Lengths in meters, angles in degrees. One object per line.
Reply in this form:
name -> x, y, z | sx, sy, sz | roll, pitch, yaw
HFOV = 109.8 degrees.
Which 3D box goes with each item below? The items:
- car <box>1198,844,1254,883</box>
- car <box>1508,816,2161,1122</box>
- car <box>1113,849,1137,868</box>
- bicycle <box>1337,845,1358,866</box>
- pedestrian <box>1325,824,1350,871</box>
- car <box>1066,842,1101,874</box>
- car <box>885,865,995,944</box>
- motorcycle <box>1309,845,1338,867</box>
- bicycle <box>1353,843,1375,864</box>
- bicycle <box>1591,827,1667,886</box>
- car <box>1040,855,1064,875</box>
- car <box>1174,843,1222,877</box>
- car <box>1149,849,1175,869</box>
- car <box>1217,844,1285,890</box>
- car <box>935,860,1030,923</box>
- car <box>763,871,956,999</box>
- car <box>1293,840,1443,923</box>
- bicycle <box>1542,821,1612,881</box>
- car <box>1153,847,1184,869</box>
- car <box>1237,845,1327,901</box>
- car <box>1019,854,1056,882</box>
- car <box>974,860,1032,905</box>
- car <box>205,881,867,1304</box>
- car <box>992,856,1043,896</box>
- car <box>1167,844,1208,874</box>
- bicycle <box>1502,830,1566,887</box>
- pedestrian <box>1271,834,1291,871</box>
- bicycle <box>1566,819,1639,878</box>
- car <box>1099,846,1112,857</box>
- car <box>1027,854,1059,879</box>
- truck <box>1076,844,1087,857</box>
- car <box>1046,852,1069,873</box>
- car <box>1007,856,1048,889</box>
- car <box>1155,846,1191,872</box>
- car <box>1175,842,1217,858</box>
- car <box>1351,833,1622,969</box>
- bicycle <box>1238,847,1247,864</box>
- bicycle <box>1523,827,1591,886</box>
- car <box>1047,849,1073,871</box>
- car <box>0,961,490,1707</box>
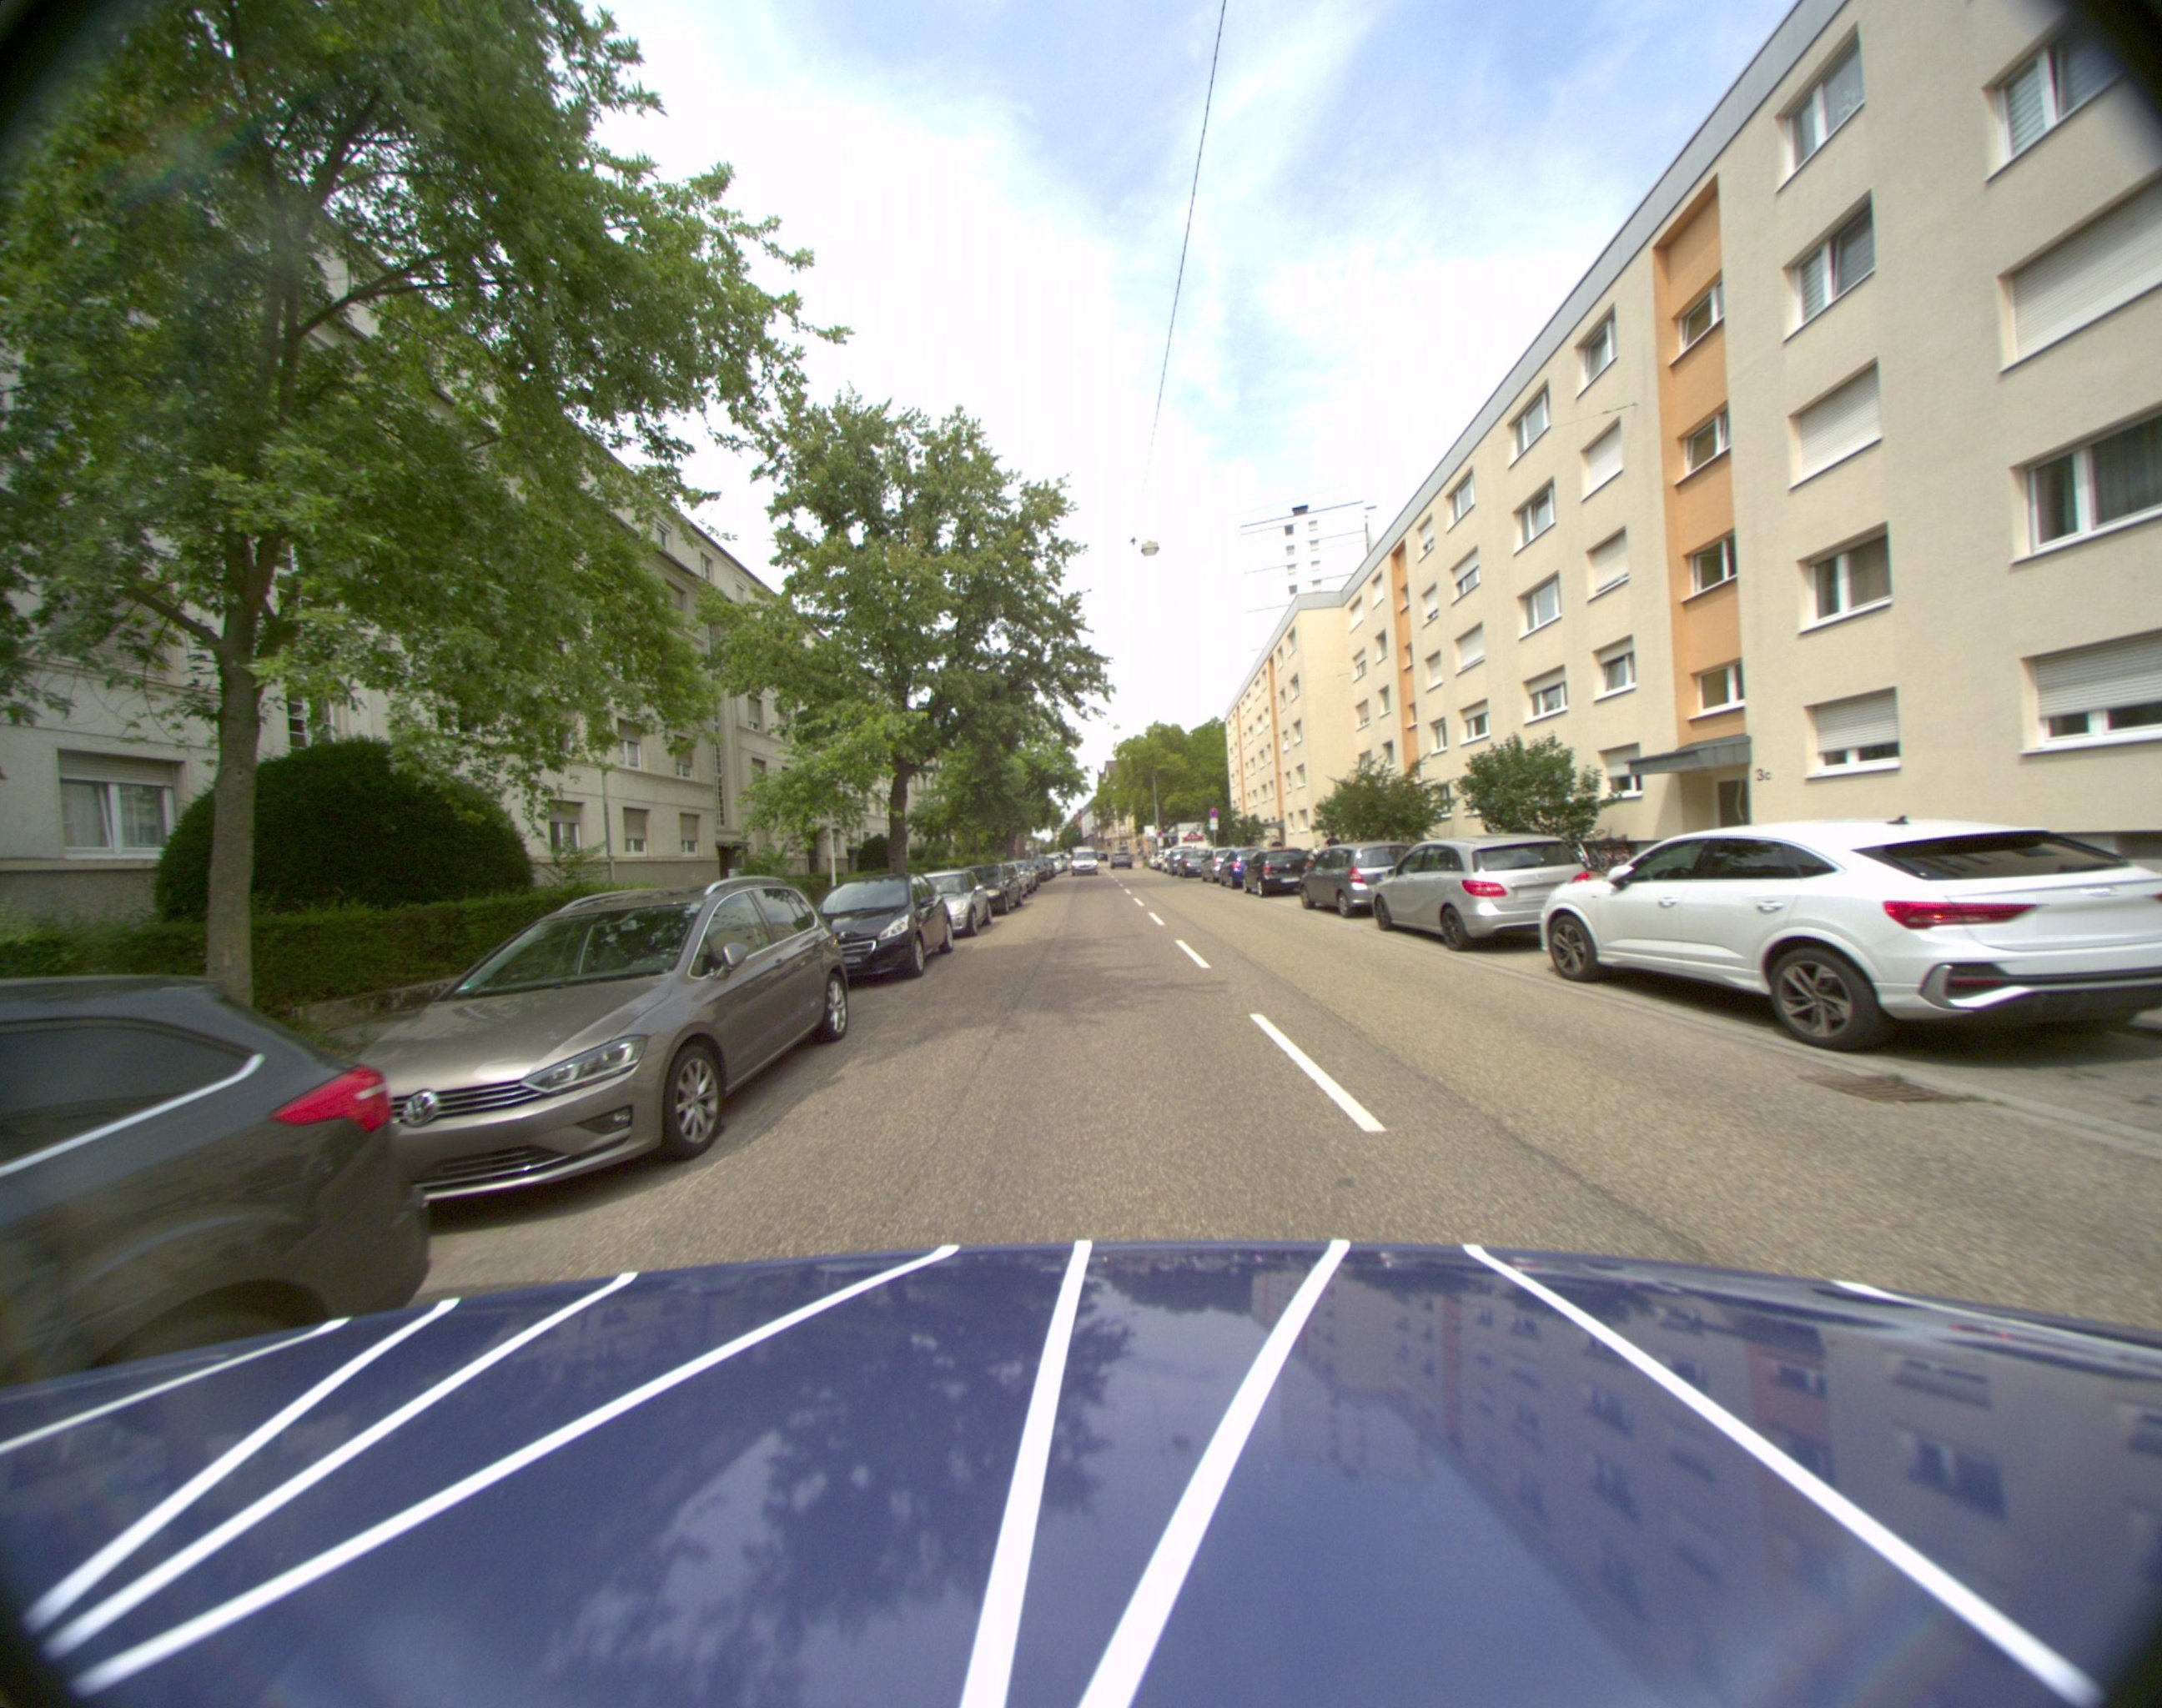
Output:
car -> 6.466, 0.401, 34.200 | 1.674, 1.552, 3.851 | -5, 0, 0
car -> 5.815, 0.616, 6.464 | 1.693, 1.570, 4.593 | -5, 0, 0
car -> 3.893, 0.417, 67.601 | 1.822, 1.576, 4.436 | -2, 0, 0
bicycle -> 13.160, 0.056, 37.595 | 0.441, 0.980, 1.616 | -4, 0, 1
pedestrian -> 10.201, -0.254, 30.261 | 0.621, 1.802, 0.803 | -3, 1, -1
car -> 0.107, 0.277, 52.126 | 2.082, 2.039, 4.679 | -3, 0, -2
car -> -2.987, 1.029, 16.844 | 1.663, 1.460, 3.726 | -3, -1, 0
motorcycle -> 11.966, 0.101, 37.563 | 0.663, 0.980, 2.317 | -4, 0, 1
bicycle -> 13.975, -0.010, 37.532 | 0.441, 0.980, 1.673 | -4, 0, 1
bicycle -> 13.952, 0.070, 19.421 | 0.463, 1.416, 2.130 | -3, -1, 4
car -> -2.298, 0.856, 61.573 | 1.701, 1.441, 4.100 | -4, 0, -1
car -> 6.359, 0.300, 41.651 | 1.947, 1.603, 4.302 | -5, 0, 1
car -> 6.609, 0.372, 62.304 | 1.712, 1.464, 3.989 | -5, 0, 3
car -> 6.402, 0.455, 29.033 | 1.822, 1.474, 3.885 | -5, 0, 3
car -> -2.765, 1.022, 22.393 | 1.784, 1.461, 4.615 | -5, 0, 4
car -> -3.080, 1.052, 11.408 | 1.663, 1.460, 3.890 | -3, -1, 0
car -> 6.183, 0.565, 16.900 | 1.727, 1.530, 4.005 | -3, -1, 0
bicycle -> 12.768, -0.063, 19.618 | 0.463, 1.416, 2.130 | -3, -1, 4
car -> 6.598, 0.293, 57.598 | 1.713, 1.464, 3.988 | -5, 0, -1
car -> 6.223, 0.547, 24.002 | 1.822, 1.474, 4.116 | -5, 0, 2
car -> -2.596, 0.834, 46.236 | 1.701, 1.461, 4.560 | -5, 0, 2
car -> -2.869, 1.018, 28.785 | 1.674, 1.392, 3.851 | -6, 0, 0
car -> -3.041, 1.149, 5.562 | 1.663, 1.573, 4.285 | -6, 0, -1
car -> -2.707, 0.876, 33.089 | 1.701, 1.461, 4.717 | -5, 0, 0
car -> 6.508, 0.274, 46.964 | 1.947, 1.603, 4.862 | -5, 0, 3
bicycle -> 11.638, 0.119, 19.603 | 0.463, 1.385, 2.131 | -3, -1, 5
pedestrian -> 9.941, -0.076, 37.788 | 0.621, 1.802, 0.899 | -4, 1, -1
bicycle -> 13.377, -0.116, 19.560 | 0.463, 1.416, 2.130 | -3, -1, 4
car -> 3.784, -0.391, 116.891 | 1.956, 1.512, 4.613 | -1, 0, 1
car -> -2.521, 0.797, 51.467 | 1.701, 1.461, 4.101 | -5, 0, 2
truck -> 0.025, -0.922, 190.241 | 2.548, 3.089, 7.019 | -1, 0, -2
car -> -2.034, 0.711, 66.542 | 1.608, 1.598, 3.805 | -5, 0, 2
car -> -2.737, 0.920, 39.735 | 1.701, 1.461, 4.753 | -5, 0, 0
car -> 6.321, 0.312, 52.375 | 1.702, 1.603, 4.476 | -5, 0, -1
car -> 13.338, -0.456, 88.397 | 4.640, 1.676, 1.850 | -2, 0, 7
car -> 5.896, 0.583, 11.810 | 1.759, 1.570, 4.568 | -5, 0, 2
bicycle -> 12.100, 0.135, 56.897 | 0.580, 1.243, 1.935 | -3, -1, 11
bicycle -> 12.230, 0.074, 19.597 | 0.463, 1.404, 2.130 | -3, -1, 4
car -> -1.930, 0.556, 71.487 | 1.922, 1.854, 4.846 | -5, 0, 2
car -> -2.830, 1.157, 0.367 | 1.621, 1.461, 4.390 | -5, 0, -1
